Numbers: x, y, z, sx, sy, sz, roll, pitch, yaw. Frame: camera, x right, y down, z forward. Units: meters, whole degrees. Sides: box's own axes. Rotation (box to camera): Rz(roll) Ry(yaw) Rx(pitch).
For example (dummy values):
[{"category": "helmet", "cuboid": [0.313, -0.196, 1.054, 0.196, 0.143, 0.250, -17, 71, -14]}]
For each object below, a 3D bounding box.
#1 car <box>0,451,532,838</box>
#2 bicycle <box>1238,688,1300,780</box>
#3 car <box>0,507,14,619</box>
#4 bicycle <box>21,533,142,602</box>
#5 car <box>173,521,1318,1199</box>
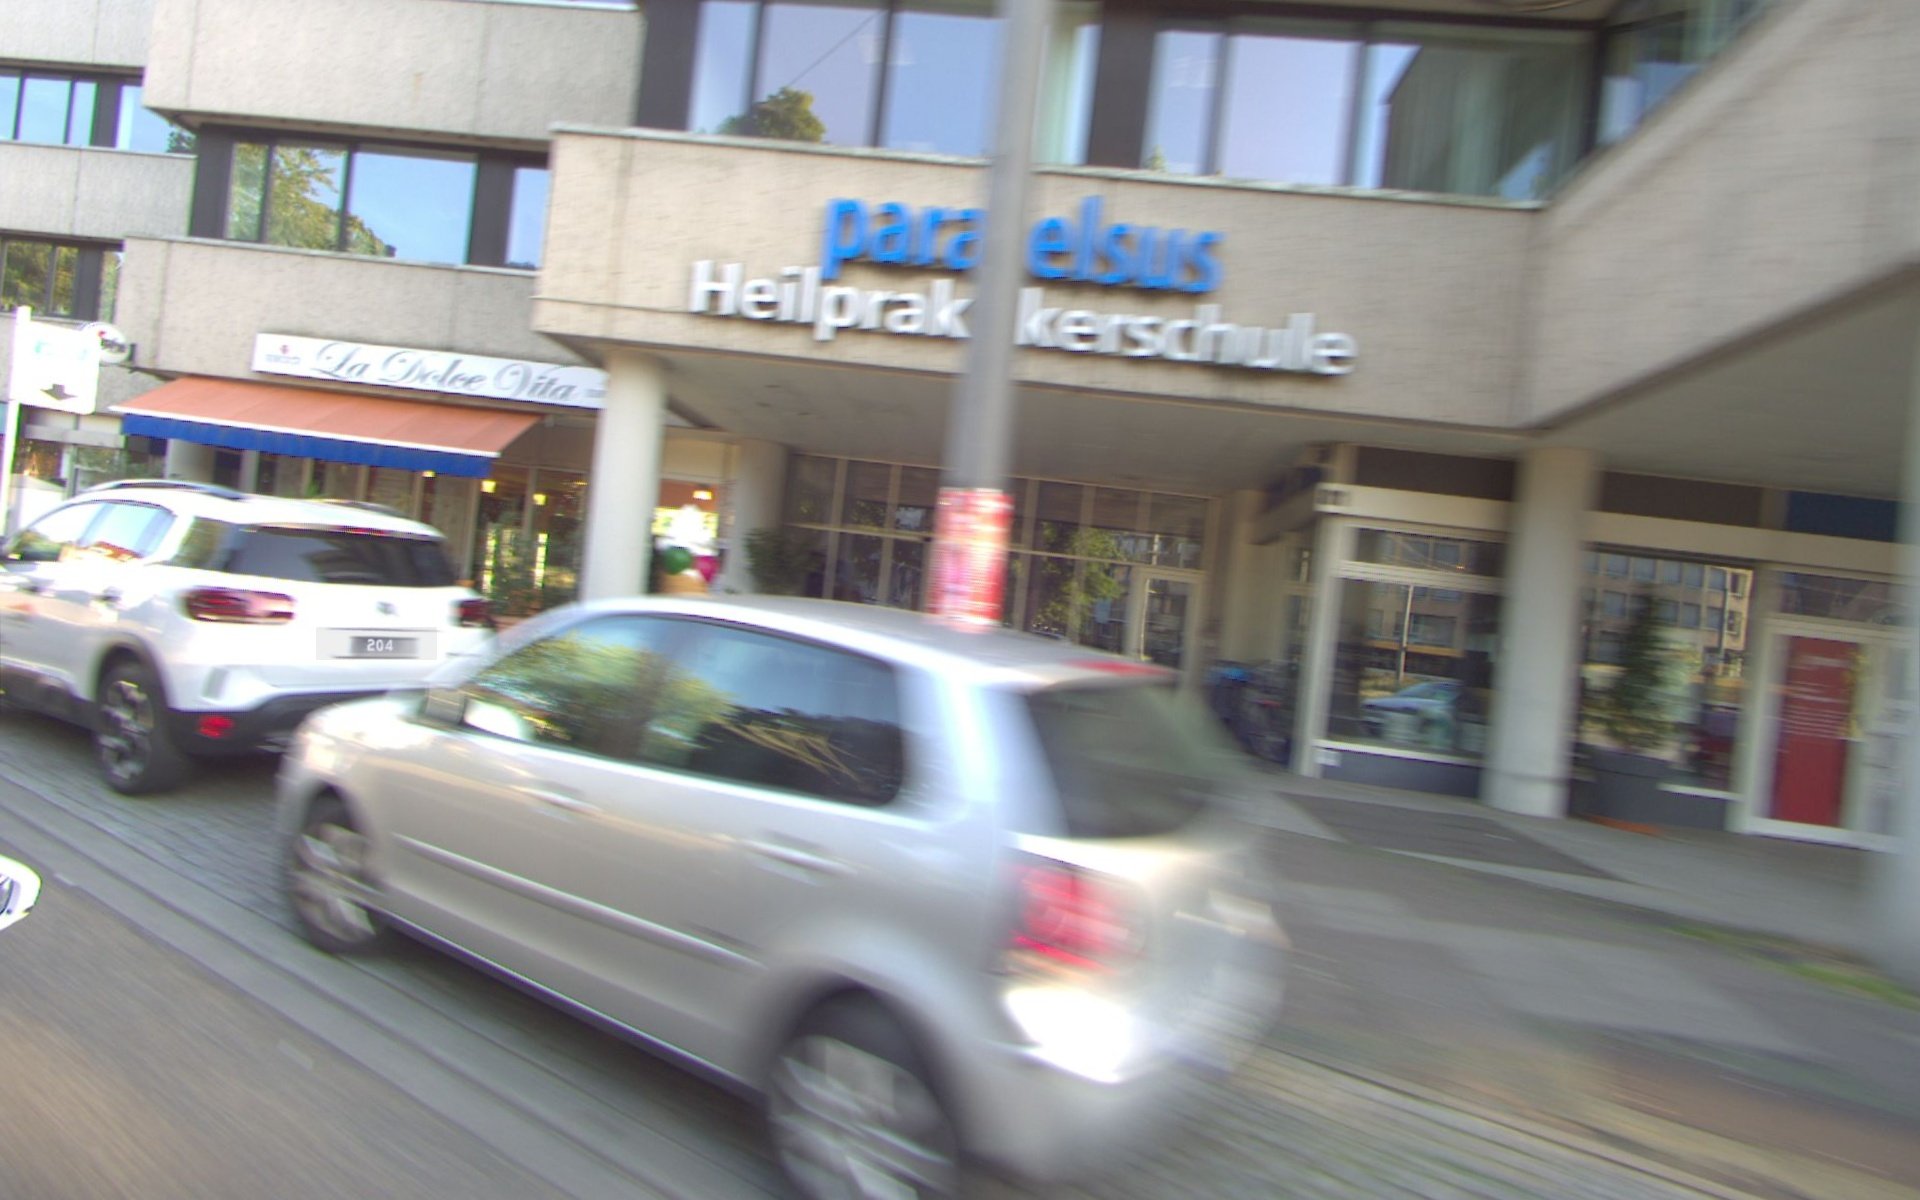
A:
[{"category": "car", "cuboid": [-5.131, 0.120, 6.697, 4.326, 1.825, 1.788, 6, -2, 30]}, {"category": "bicycle", "cuboid": [3.223, 1.356, 10.450, 0.429, 0.838, 1.397, 7, -2, 21]}, {"category": "car", "cuboid": [-12.023, -0.444, 10.737, 3.856, 1.525, 1.793, 6, -2, 32]}, {"category": "bicycle", "cuboid": [-14.176, -0.515, 16.297, 0.450, 1.018, 1.888, 5, 1, -7]}, {"category": "car", "cuboid": [-0.973, 0.706, 3.690, 3.934, 1.546, 1.644, 6, -2, 32]}]
